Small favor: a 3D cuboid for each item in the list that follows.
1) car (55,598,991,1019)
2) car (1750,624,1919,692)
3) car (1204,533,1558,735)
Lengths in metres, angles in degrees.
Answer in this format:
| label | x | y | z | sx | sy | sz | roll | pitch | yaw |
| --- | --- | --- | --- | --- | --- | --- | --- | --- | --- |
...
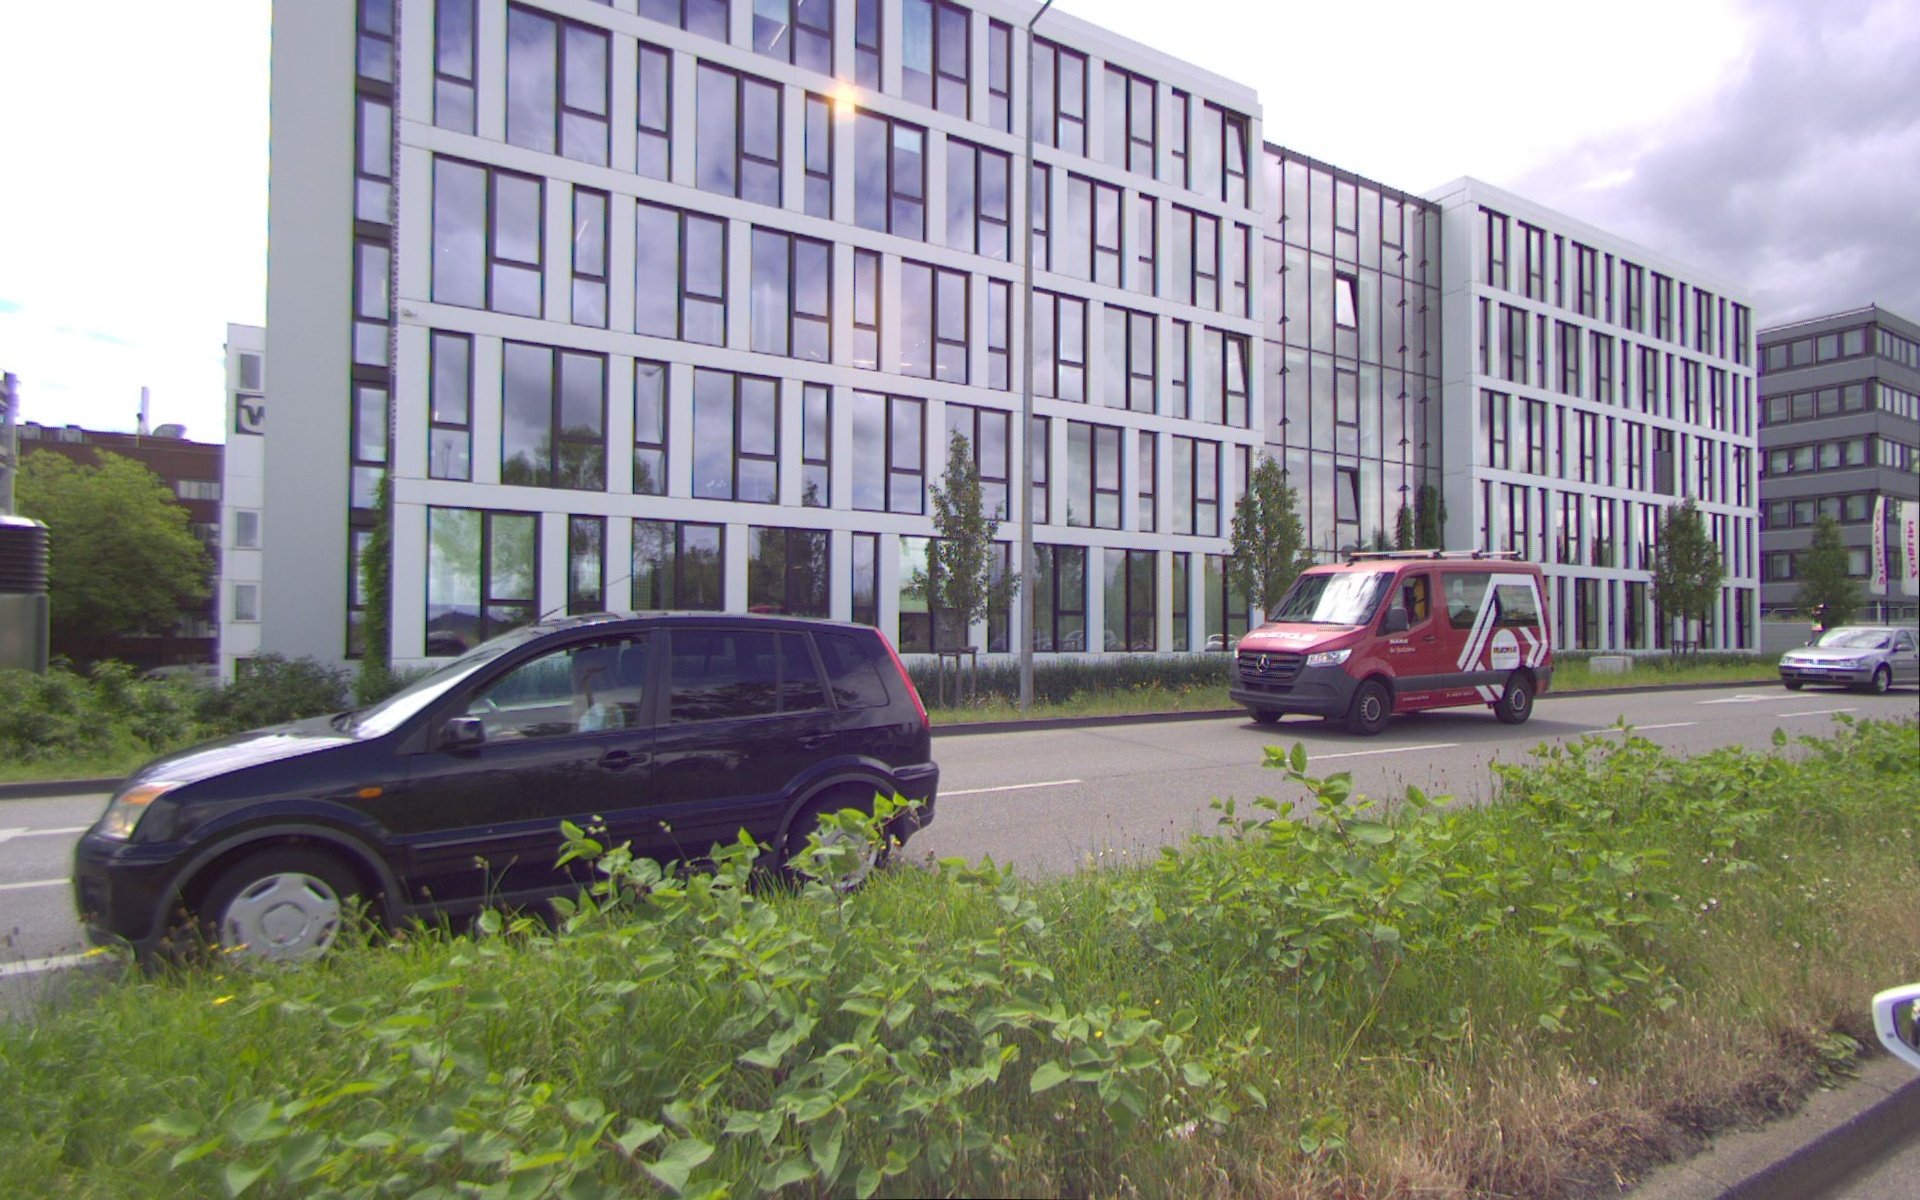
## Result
| label | x | y | z | sx | sy | sz | roll | pitch | yaw |
| --- | --- | --- | --- | --- | --- | --- | --- | --- | --- |
| car | -1.941 | 0.784 | 5.330 | 3.953 | 1.502 | 1.671 | 1 | -1 | -31 |
| car | 19.747 | 1.223 | 22.237 | 3.944 | 1.372 | 1.988 | 1 | -1 | -24 |
| car | 6.102 | 0.482 | 14.375 | 5.179 | 2.444 | 1.984 | 1 | -2 | -31 |
